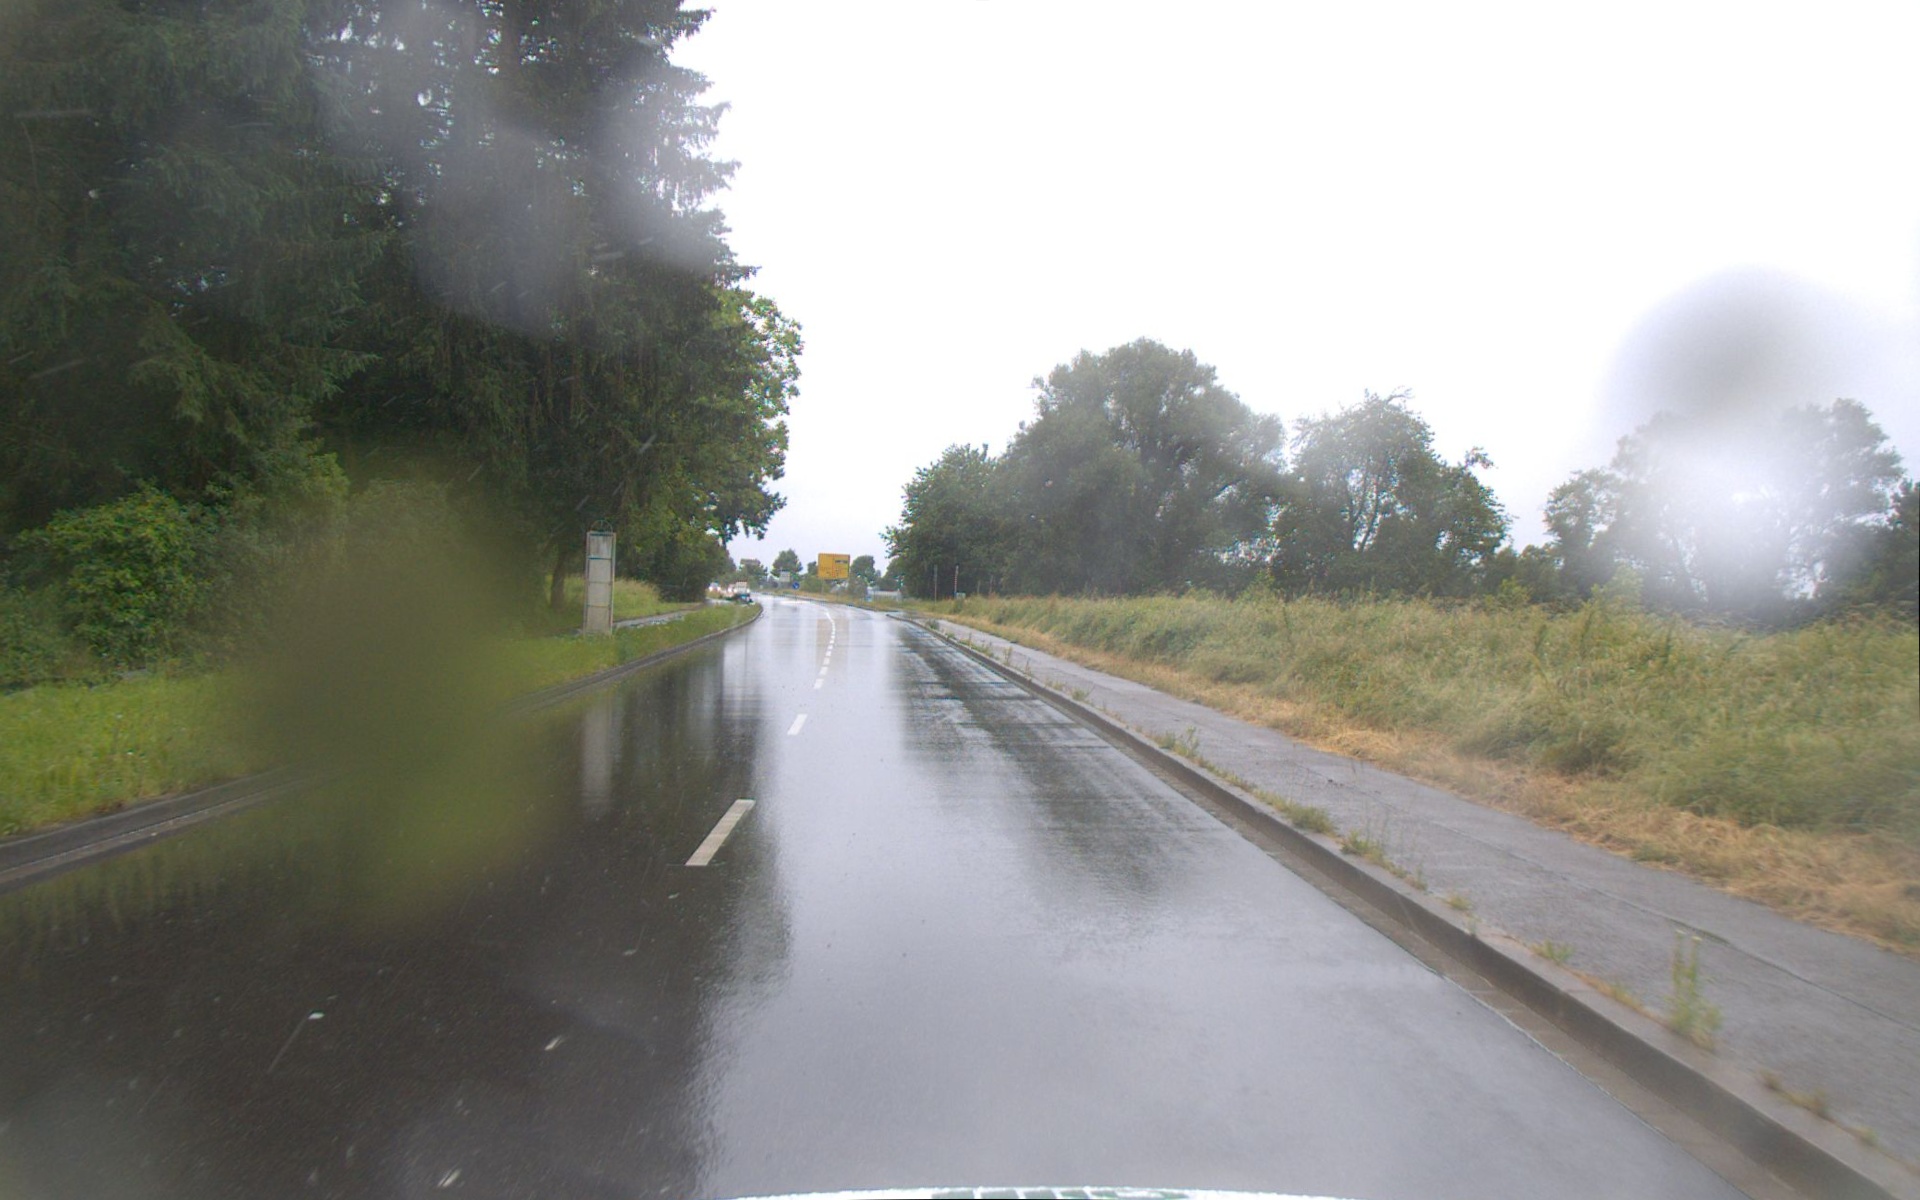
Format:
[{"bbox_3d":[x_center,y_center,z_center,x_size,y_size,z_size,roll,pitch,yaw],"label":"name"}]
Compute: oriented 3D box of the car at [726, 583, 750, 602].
[{"bbox_3d":[-23.116,-0.835,171.870,1.733,1.578,3.982,1,5,-18],"label":"car"}]
